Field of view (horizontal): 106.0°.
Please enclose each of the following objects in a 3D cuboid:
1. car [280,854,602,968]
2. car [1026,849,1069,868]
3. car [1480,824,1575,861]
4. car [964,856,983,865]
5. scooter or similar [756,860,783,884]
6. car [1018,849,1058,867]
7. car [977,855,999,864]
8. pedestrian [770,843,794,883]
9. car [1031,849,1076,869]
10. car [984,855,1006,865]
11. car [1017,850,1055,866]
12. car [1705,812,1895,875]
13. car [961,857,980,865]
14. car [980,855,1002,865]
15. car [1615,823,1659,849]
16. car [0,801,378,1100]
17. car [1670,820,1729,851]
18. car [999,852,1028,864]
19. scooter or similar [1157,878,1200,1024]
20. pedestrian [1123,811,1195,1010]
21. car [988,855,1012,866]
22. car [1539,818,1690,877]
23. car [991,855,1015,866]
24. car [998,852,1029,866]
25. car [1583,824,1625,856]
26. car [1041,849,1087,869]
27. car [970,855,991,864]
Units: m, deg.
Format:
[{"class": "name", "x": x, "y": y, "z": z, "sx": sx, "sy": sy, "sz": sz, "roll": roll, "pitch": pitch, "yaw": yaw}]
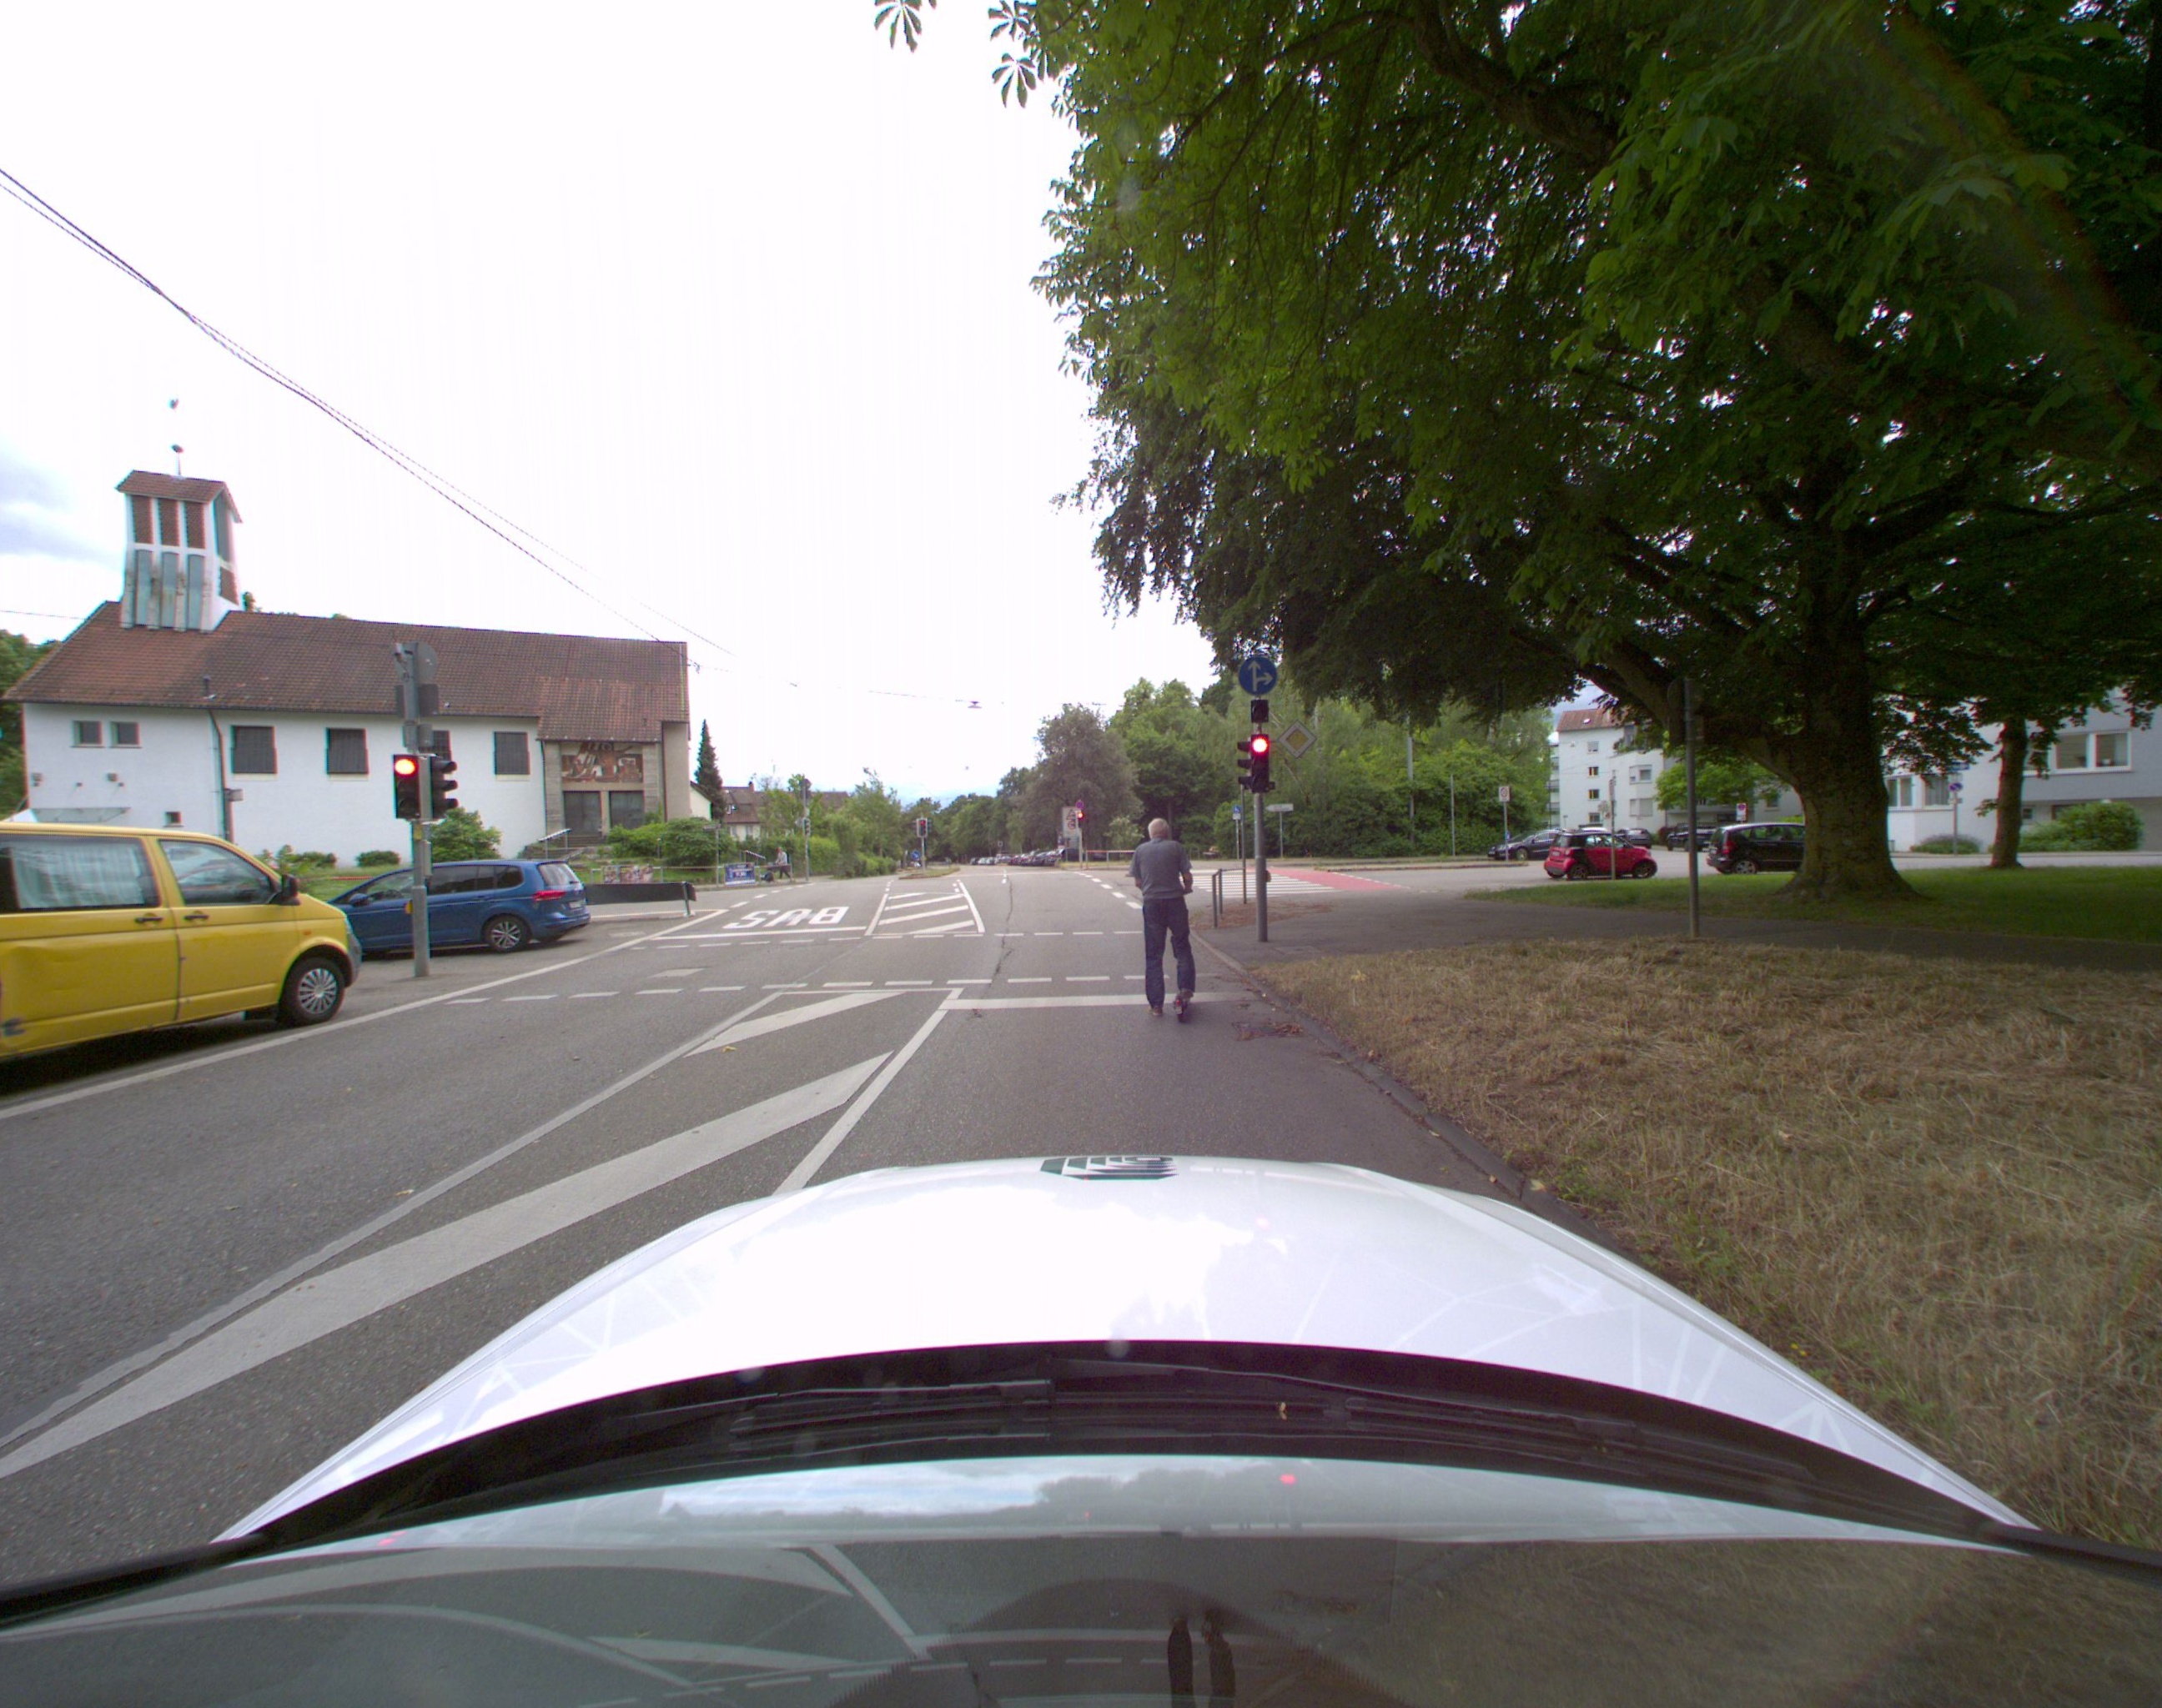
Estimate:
[{"class": "car", "x": -11.073, "y": 0.915, "z": 14.425, "sx": 3.992, "sy": 1.610, "sz": 1.810, "roll": -3, "pitch": 0, "yaw": -14}, {"class": "car", "x": -3.284, "y": 0.469, "z": 79.566, "sx": 3.856, "sy": 1.610, "sz": 1.716, "roll": -3, "pitch": 0, "yaw": -21}, {"class": "car", "x": 21.103, "y": -0.560, "z": 38.600, "sx": 3.498, "sy": 1.530, "sz": 1.732, "roll": -3, "pitch": 0, "yaw": 8}, {"class": "car", "x": -23.321, "y": 1.437, "z": 176.446, "sx": 3.856, "sy": 1.610, "sz": 1.716, "roll": -3, "pitch": 0, "yaw": -21}, {"class": "scooter or similar", "x": -14.725, "y": 0.837, "z": 38.514, "sx": 0.570, "sy": 1.081, "sz": 1.117, "roll": -2, "pitch": 0, "yaw": 22}, {"class": "car", "x": -4.605, "y": 0.421, "z": 86.952, "sx": 3.856, "sy": 1.610, "sz": 1.716, "roll": -3, "pitch": 0, "yaw": -21}, {"class": "car", "x": -18.152, "y": 1.132, "z": 159.451, "sx": 3.856, "sy": 1.610, "sz": 1.716, "roll": -3, "pitch": 0, "yaw": -21}, {"class": "pedestrian", "x": -14.427, "y": 0.423, "z": 39.341, "sx": 0.567, "sy": 1.862, "sz": 0.891, "roll": -2, "pitch": 0, "yaw": 22}, {"class": "car", "x": -2.597, "y": 0.459, "z": 77.006, "sx": 3.857, "sy": 1.610, "sz": 1.715, "roll": -3, "pitch": 1, "yaw": -22}, {"class": "car", "x": -16.349, "y": 1.164, "z": 154.700, "sx": 3.856, "sy": 1.610, "sz": 1.716, "roll": -3, "pitch": 0, "yaw": -21}, {"class": "car", "x": -4.938, "y": 0.428, "z": 89.374, "sx": 3.856, "sy": 1.610, "sz": 1.716, "roll": -3, "pitch": 0, "yaw": -21}, {"class": "car", "x": 20.823, "y": -0.295, "z": 23.799, "sx": 3.805, "sy": 1.610, "sz": 1.739, "roll": -3, "pitch": 1, "yaw": 27}, {"class": "car", "x": -24.234, "y": 1.528, "z": 178.807, "sx": 3.856, "sy": 1.610, "sz": 1.716, "roll": -3, "pitch": 0, "yaw": -21}, {"class": "car", "x": -17.327, "y": 1.126, "z": 156.859, "sx": 3.856, "sy": 1.610, "sz": 1.716, "roll": -3, "pitch": 0, "yaw": -21}, {"class": "car", "x": 38.948, "y": -1.275, "z": 57.135, "sx": 1.707, "sy": 1.610, "sz": 3.875, "roll": -3, "pitch": 1, "yaw": 22}, {"class": "car", "x": -8.308, "y": 0.682, "z": 6.339, "sx": 1.880, "sy": 2.013, "sz": 4.558, "roll": -2, "pitch": 0, "yaw": -5}, {"class": "car", "x": 35.561, "y": -1.068, "z": 46.925, "sx": 1.707, "sy": 1.610, "sz": 3.875, "roll": -3, "pitch": 1, "yaw": 22}, {"class": "car", "x": -10.129, "y": 0.628, "z": 122.353, "sx": 3.856, "sy": 1.610, "sz": 1.716, "roll": -3, "pitch": 0, "yaw": -21}, {"class": "scooter or similar", "x": 0.909, "y": 0.841, "z": 7.493, "sx": 0.280, "sy": 1.178, "sz": 1.180, "roll": -2, "pitch": 0, "yaw": 10}, {"class": "pedestrian", "x": 0.746, "y": 0.521, "z": 7.674, "sx": 0.569, "sy": 1.813, "sz": 0.421, "roll": -2, "pitch": 0, "yaw": 10}, {"class": "car", "x": -14.333, "y": 1.136, "z": 143.339, "sx": 3.856, "sy": 1.610, "sz": 1.716, "roll": -3, "pitch": 0, "yaw": -21}, {"class": "car", "x": 16.517, "y": -0.207, "z": 25.357, "sx": 3.499, "sy": 1.610, "sz": 1.732, "roll": -3, "pitch": 0, "yaw": 7}, {"class": "car", "x": -13.394, "y": 1.127, "z": 139.639, "sx": 3.856, "sy": 1.610, "sz": 1.716, "roll": -3, "pitch": 0, "yaw": -21}, {"class": "car", "x": -9.056, "y": 0.676, "z": 109.349, "sx": 3.856, "sy": 1.610, "sz": 1.716, "roll": -3, "pitch": 0, "yaw": -21}, {"class": "car", "x": 28.779, "y": -0.788, "z": 44.891, "sx": 1.706, "sy": 1.610, "sz": 3.878, "roll": -3, "pitch": 1, "yaw": 30}, {"class": "car", "x": -1.587, "y": 0.432, "z": 75.009, "sx": 3.854, "sy": 1.610, "sz": 1.717, "roll": -3, "pitch": 0, "yaw": -19}, {"class": "car", "x": -20.502, "y": 1.145, "z": 166.579, "sx": 3.856, "sy": 1.610, "sz": 1.716, "roll": -3, "pitch": 0, "yaw": -21}]
